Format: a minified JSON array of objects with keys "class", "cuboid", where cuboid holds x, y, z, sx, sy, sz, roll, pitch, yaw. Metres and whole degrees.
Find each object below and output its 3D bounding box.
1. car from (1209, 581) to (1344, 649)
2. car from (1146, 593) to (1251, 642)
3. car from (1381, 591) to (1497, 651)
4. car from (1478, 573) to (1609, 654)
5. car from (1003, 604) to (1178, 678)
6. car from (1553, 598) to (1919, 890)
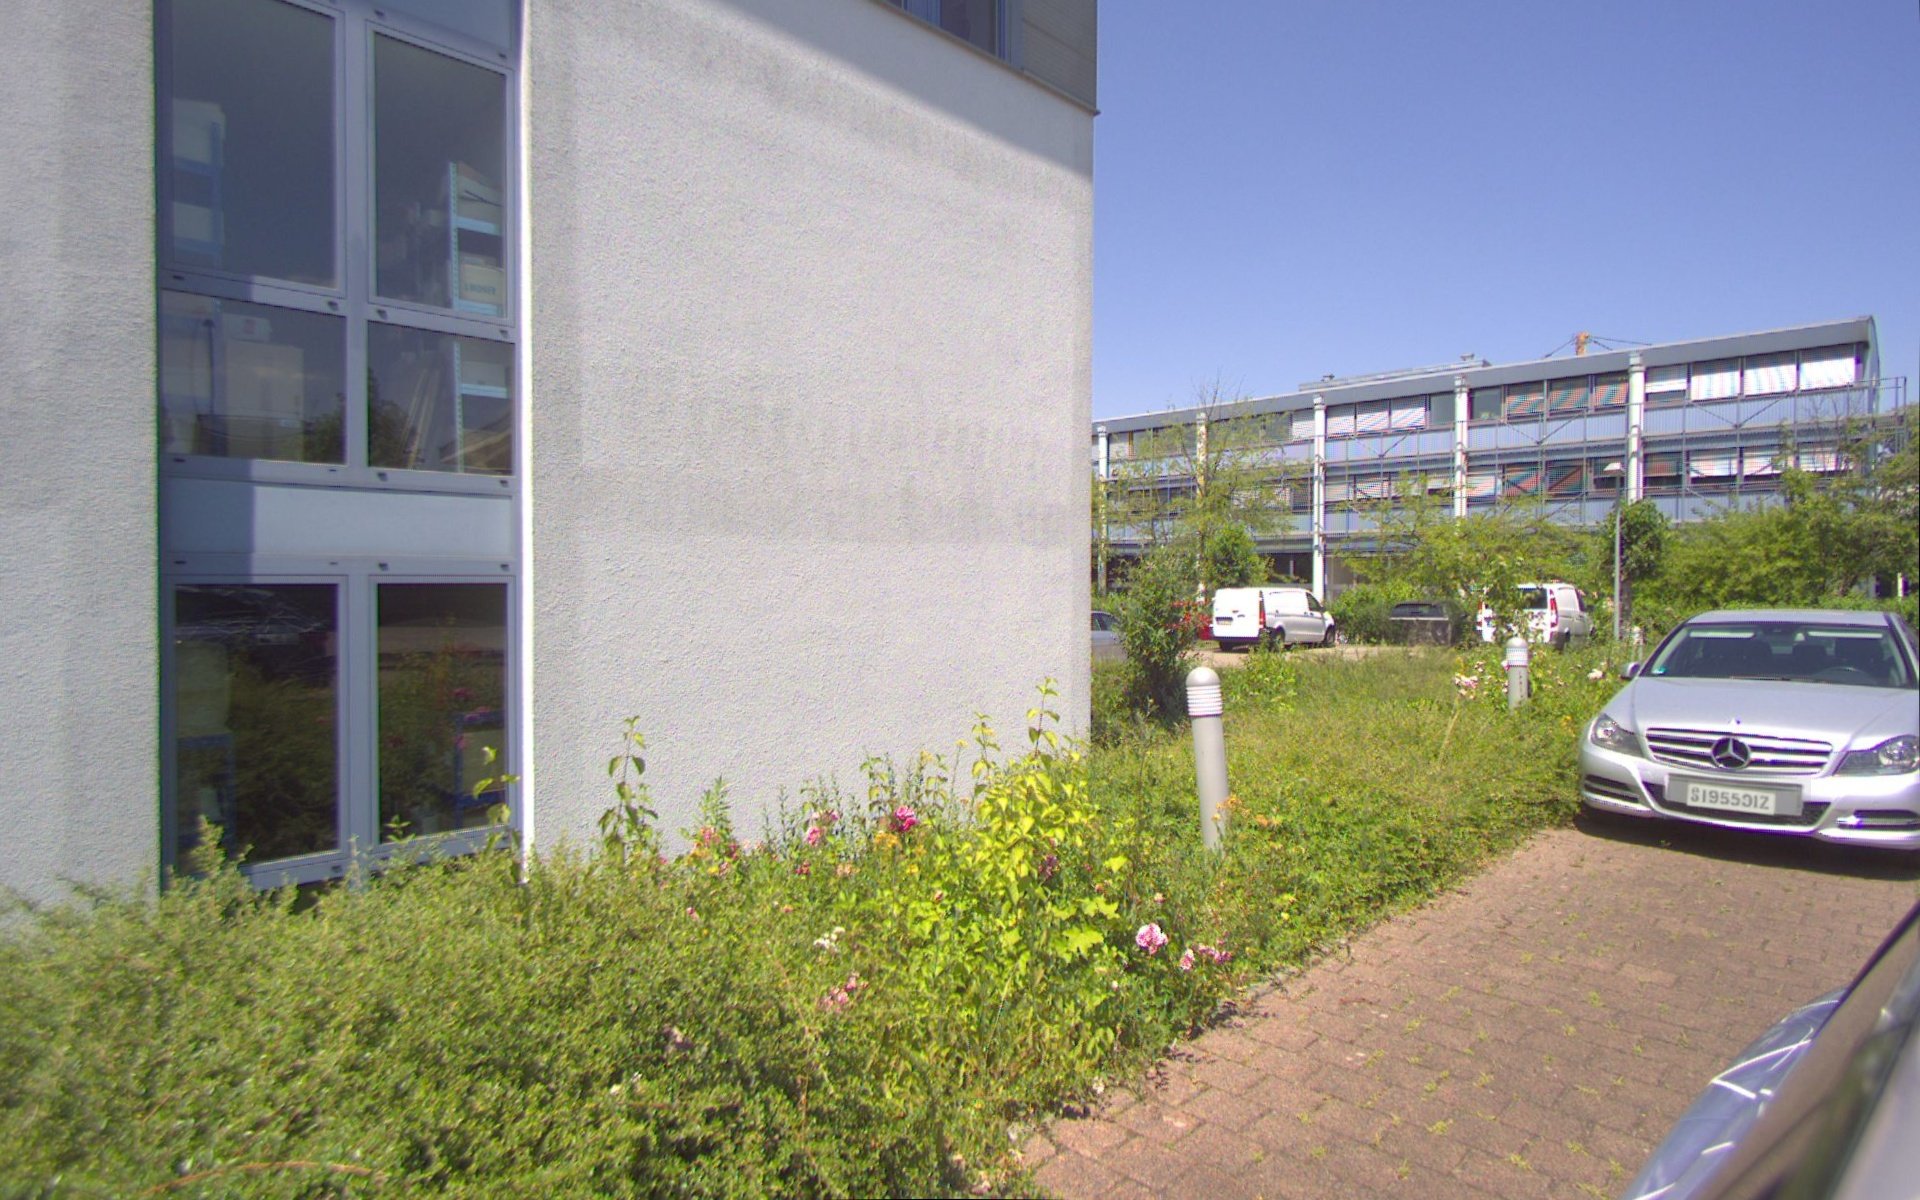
[{"class":"car","cuboid":[9.659,0.398,30.663,4.855,1.879,1.851,-1,0,-45]},{"class":"car","cuboid":[7.987,0.538,33.699,3.857,1.507,1.620,-1,0,-45]},{"class":"car","cuboid":[13.318,0.542,28.010,1.733,1.503,4.133,-1,0,43]},{"class":"car","cuboid":[14.846,0.287,25.624,1.862,1.883,4.605,-1,0,43]},{"class":"car","cuboid":[3.117,0.878,23.518,1.850,1.539,4.358,-1,0,43]},{"class":"car","cuboid":[5.884,0.719,7.135,4.346,1.415,1.801,-1,1,-43]}]
